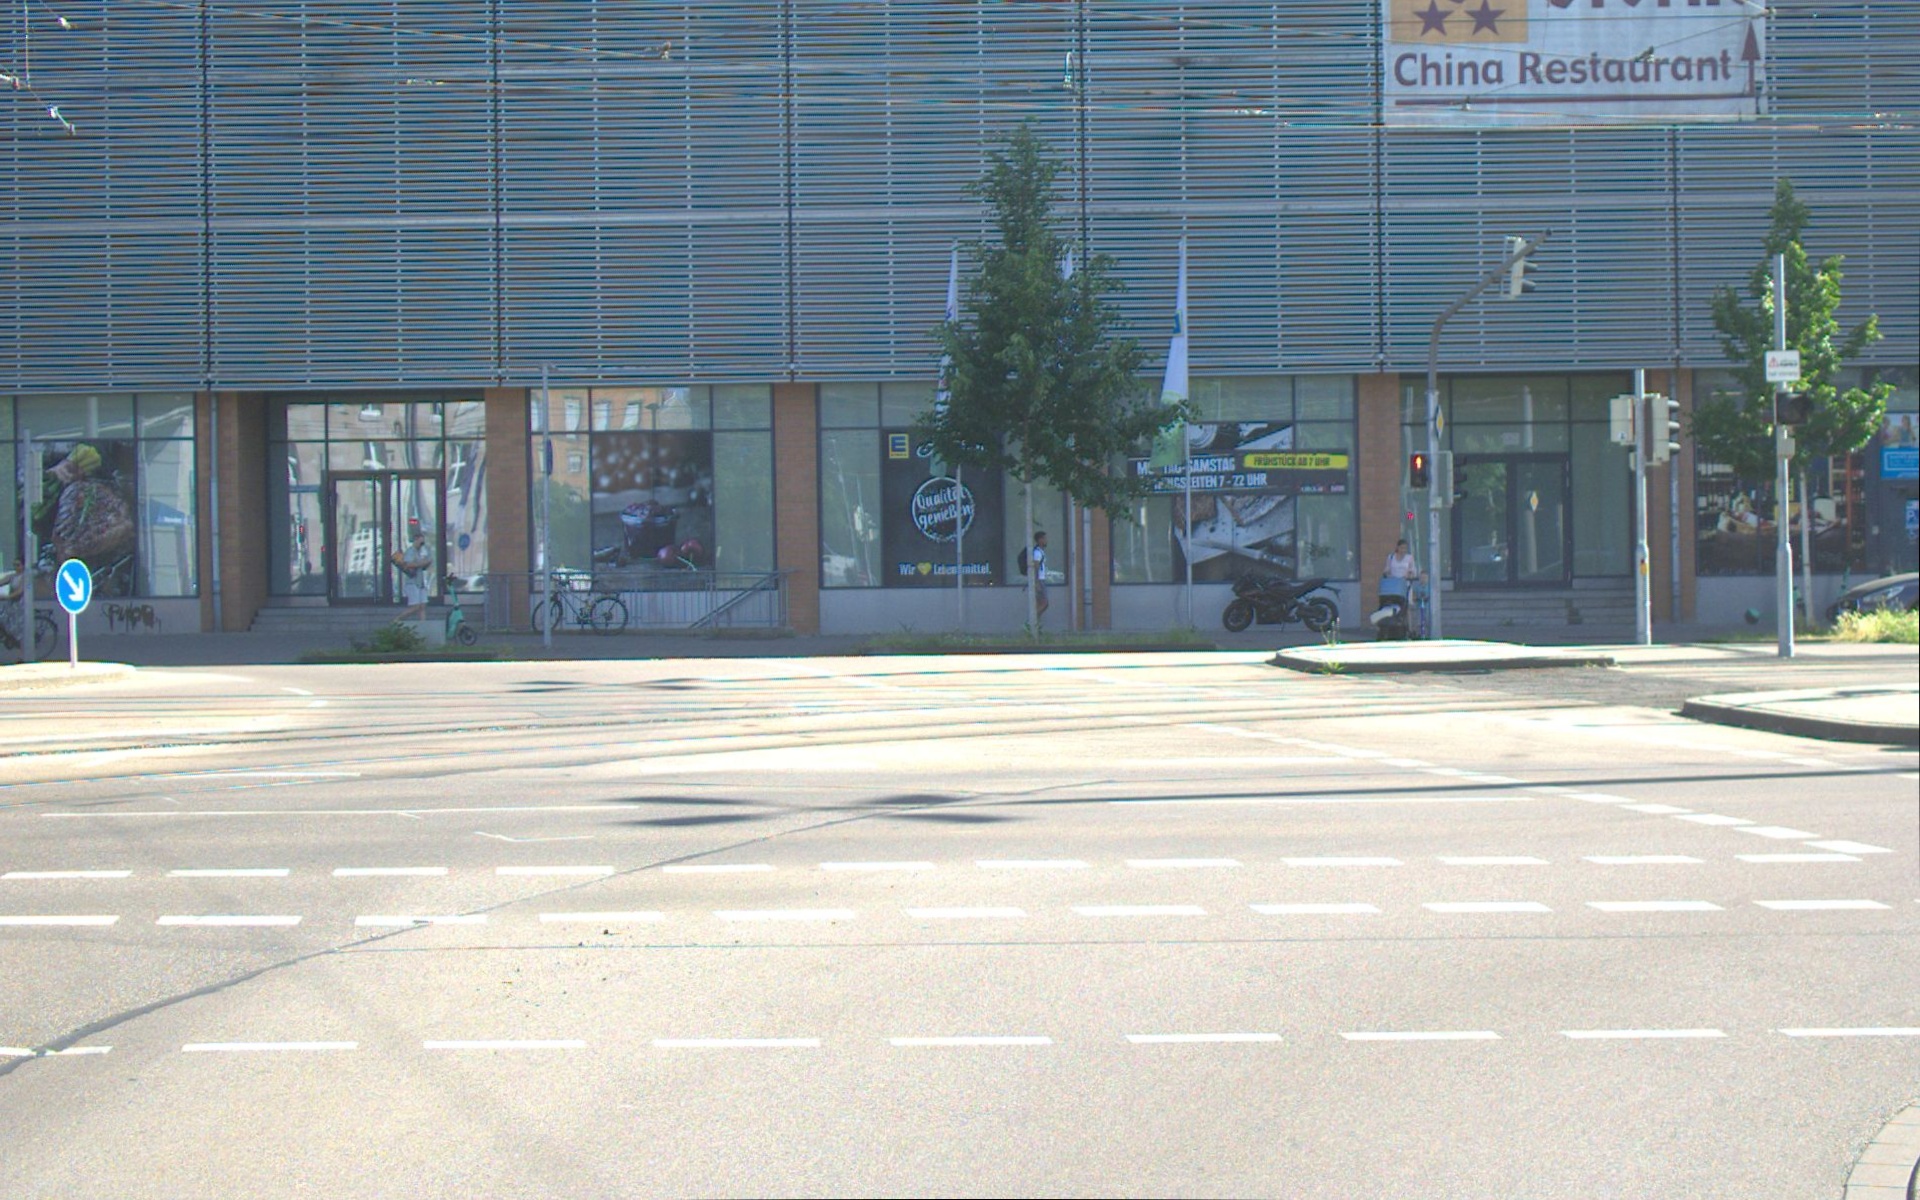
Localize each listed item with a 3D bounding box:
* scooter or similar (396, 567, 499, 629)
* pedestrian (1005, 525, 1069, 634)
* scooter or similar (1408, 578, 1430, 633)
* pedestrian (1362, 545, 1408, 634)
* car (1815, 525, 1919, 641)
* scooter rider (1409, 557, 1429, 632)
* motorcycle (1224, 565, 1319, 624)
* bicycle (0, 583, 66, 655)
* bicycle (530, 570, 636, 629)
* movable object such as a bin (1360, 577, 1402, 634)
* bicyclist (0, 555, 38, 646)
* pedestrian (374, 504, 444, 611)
[{"bbox_3d":[-9.074,-0.043,60.931,1.792,1.062,0.613,0,2,-8],"label":"scooter or similar"},{"bbox_3d":[1.329,-0.357,59.183,1.012,1.822,1.035,-2,1,3],"label":"pedestrian"},{"bbox_3d":[7.355,0.078,55.096,0.295,0.870,1.003,1,0,10],"label":"scooter or similar"},{"bbox_3d":[6.835,-0.174,55.274,0.655,1.409,0.849,1,0,10],"label":"pedestrian"},{"bbox_3d":[13.757,-0.140,45.851,4.146,1.464,1.841,3,0,-1],"label":"car"},{"bbox_3d":[7.348,-0.084,55.034,0.288,1.196,0.385,1,0,10],"label":"scooter rider"},{"bbox_3d":[5.498,-0.099,60.640,1.640,1.001,0.446,1,1,6],"label":"motorcycle"},{"bbox_3d":[-15.242,0.314,54.867,0.568,1.082,1.859,1,3,43],"label":"bicycle"},{"bbox_3d":[-6.645,-0.014,60.548,1.815,0.986,0.558,-1,2,-10],"label":"bicycle"},{"bbox_3d":[6.716,0.082,54.813,0.613,0.901,0.968,1,0,10],"label":"movable object such as a bin"},{"bbox_3d":[-15.275,0.005,54.787,0.675,1.422,0.847,1,3,43],"label":"bicyclist"},{"bbox_3d":[-9.599,-0.740,59.917,0.950,1.822,0.846,-2,1,5],"label":"pedestrian"}]
